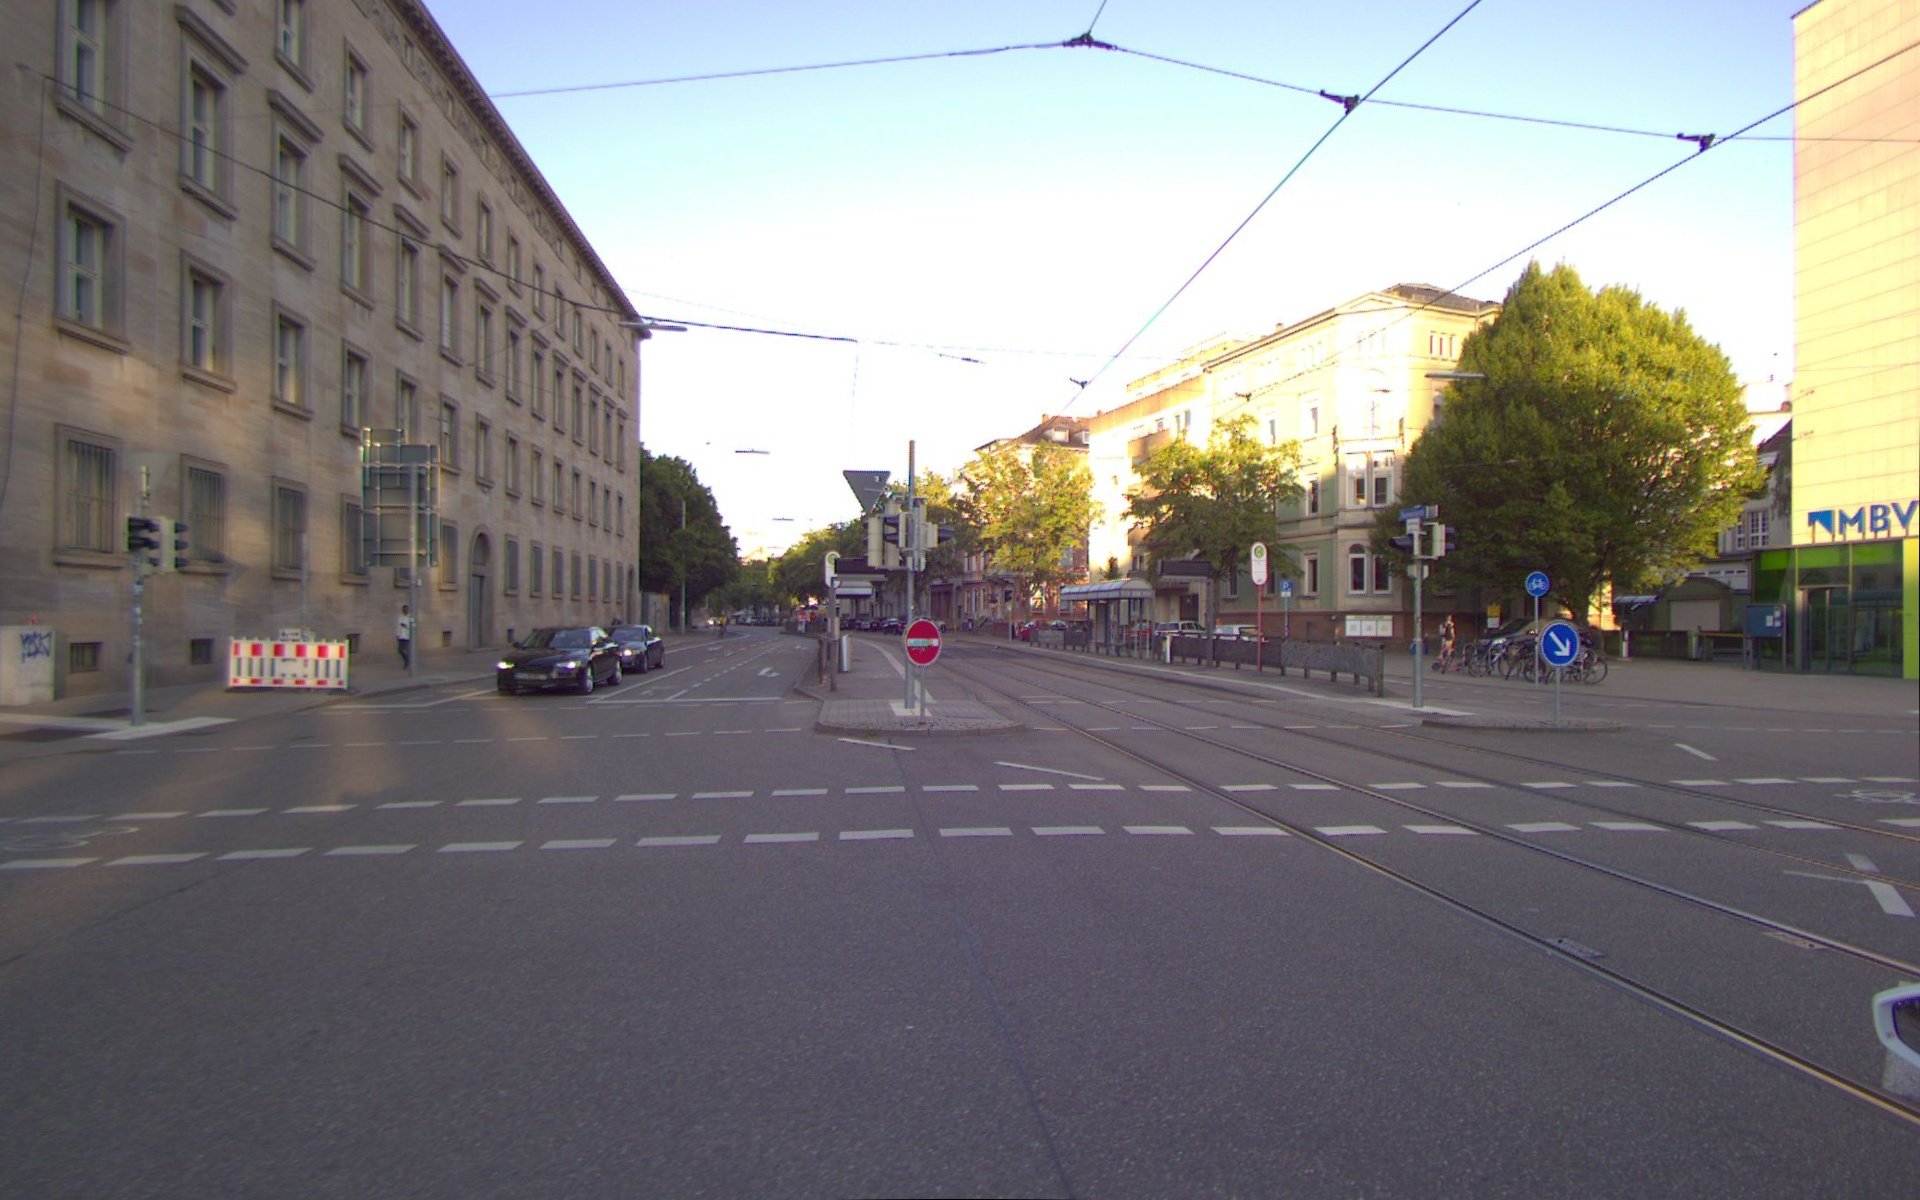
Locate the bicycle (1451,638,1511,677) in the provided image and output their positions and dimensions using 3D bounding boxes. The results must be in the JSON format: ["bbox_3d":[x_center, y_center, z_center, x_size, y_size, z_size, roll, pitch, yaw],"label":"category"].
[{"bbox_3d":[16.088,1.771,31.045,1.502,1.178,0.744,1,-1,-5],"label":"bicycle"}]

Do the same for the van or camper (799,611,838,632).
[{"bbox_3d":[-19.581,2.940,139.379,2.053,2.564,5.530,-3,0,35],"label":"van or camper"}]

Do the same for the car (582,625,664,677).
[{"bbox_3d":[-10.103,1.494,30.359,1.617,1.446,3.701,1,-1,-7],"label":"car"}]

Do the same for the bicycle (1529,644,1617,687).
[{"bbox_3d":[16.088,1.716,26.398,1.828,1.089,0.745,-1,-1,11],"label":"bicycle"}]

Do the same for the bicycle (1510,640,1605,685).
[{"bbox_3d":[16.333,1.697,27.466,2.195,1.147,0.743,-1,-1,-5],"label":"bicycle"}]

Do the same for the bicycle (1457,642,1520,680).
[{"bbox_3d":[15.758,1.822,29.979,1.526,1.089,0.744,1,-1,-5],"label":"bicycle"}]

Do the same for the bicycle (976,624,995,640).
[{"bbox_3d":[2.128,2.656,83.693,0.592,1.283,1.912,-1,-1,35],"label":"bicycle"}]

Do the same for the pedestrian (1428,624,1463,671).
[{"bbox_3d":[18.523,1.799,38.350,0.698,1.791,0.984,1,-1,-22],"label":"pedestrian"}]

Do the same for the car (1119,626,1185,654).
[{"bbox_3d":[10.442,2.154,54.432,1.621,1.473,4.190,0,-2,40],"label":"car"}]

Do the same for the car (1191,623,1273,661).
[{"bbox_3d":[12.229,1.861,45.422,1.658,1.573,3.985,-2,0,-17],"label":"car"}]

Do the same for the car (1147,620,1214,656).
[{"bbox_3d":[11.439,1.942,51.880,1.695,1.748,4.192,2,0,39],"label":"car"}]

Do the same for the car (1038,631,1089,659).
[{"bbox_3d":[6.435,2.790,62.886,1.721,1.653,4.074,-1,-1,-17],"label":"car"}]

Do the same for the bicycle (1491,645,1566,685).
[{"bbox_3d":[16.007,1.827,28.285,1.727,1.089,0.743,1,-1,-5],"label":"bicycle"}]

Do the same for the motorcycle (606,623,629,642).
[{"bbox_3d":[-19.623,1.846,57.555,0.687,1.089,2.651,0,-1,-7],"label":"motorcycle"}]

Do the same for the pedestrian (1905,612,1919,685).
[{"bbox_3d":[24.037,1.193,24.806,0.695,1.791,0.734,1,-1,-6],"label":"pedestrian"}]

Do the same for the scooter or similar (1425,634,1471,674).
[{"bbox_3d":[15.754,1.749,32.467,1.181,1.241,0.590,-1,-1,-7],"label":"scooter or similar"}]

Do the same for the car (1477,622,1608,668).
[{"bbox_3d":[21.504,1.650,37.149,3.922,1.595,1.801,1,-1,-7],"label":"car"}]

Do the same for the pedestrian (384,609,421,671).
[{"bbox_3d":[-15.665,1.115,28.231,0.684,1.732,0.646,0,-1,-4],"label":"pedestrian"}]

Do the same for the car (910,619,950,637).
[{"bbox_3d":[-2.781,2.631,94.207,1.649,1.648,3.937,0,-2,39],"label":"car"}]

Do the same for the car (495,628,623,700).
[{"bbox_3d":[-8.937,1.374,22.733,1.617,1.446,4.228,1,-1,-7],"label":"car"}]
